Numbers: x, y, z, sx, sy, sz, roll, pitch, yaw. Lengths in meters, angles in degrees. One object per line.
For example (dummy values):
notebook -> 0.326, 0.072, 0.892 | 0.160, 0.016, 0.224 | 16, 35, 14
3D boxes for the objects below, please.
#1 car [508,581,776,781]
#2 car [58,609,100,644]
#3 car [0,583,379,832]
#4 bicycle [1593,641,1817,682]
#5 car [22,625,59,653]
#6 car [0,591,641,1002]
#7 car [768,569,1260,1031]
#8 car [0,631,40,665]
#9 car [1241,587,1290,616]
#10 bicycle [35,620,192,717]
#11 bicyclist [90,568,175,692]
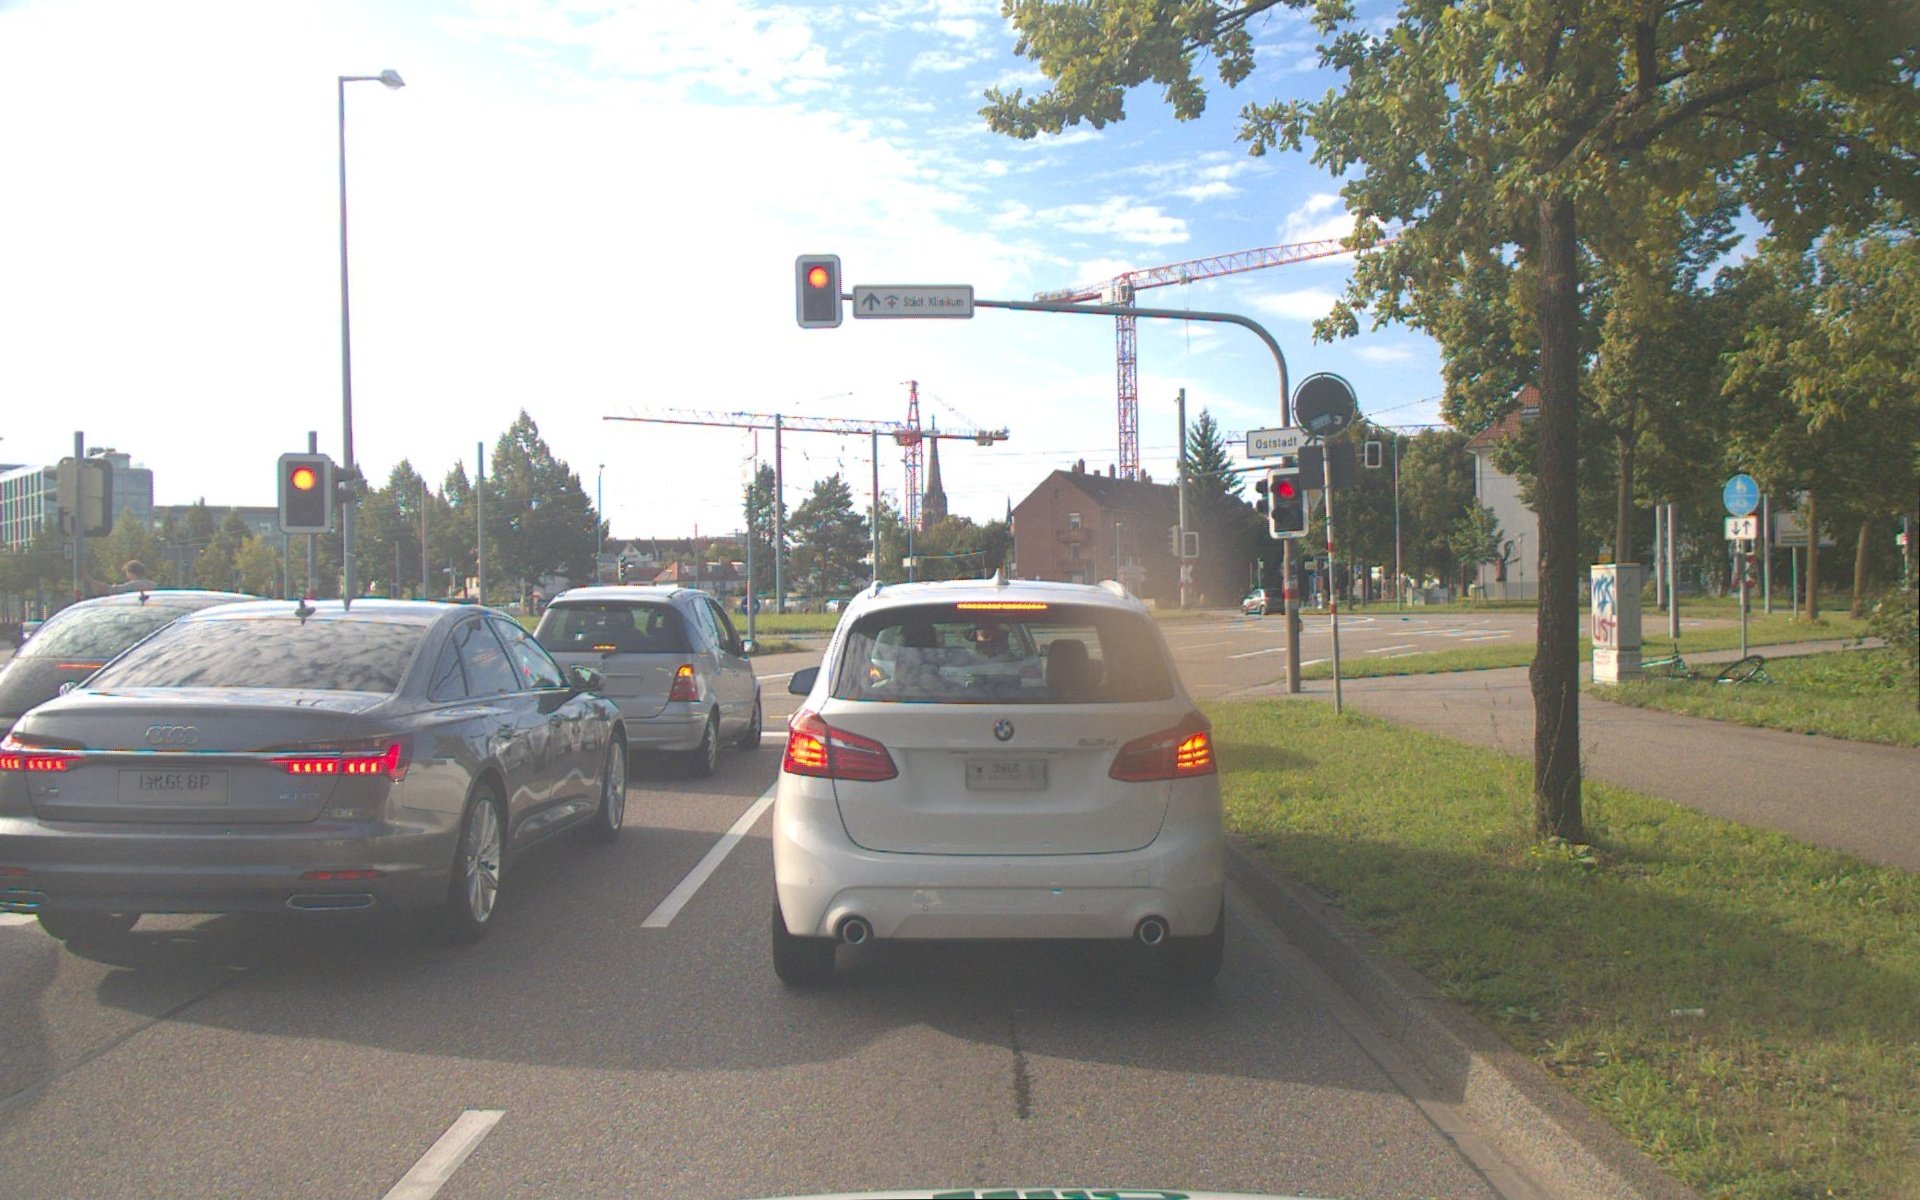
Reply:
car -> -2.753, 0.638, 15.165 | 1.694, 1.585, 4.057 | 0, 0, -1
car -> -41.612, 1.225, 78.182 | 1.686, 1.601, 3.963 | -1, 0, -28
car -> -5.762, 0.668, 12.232 | 1.646, 1.549, 3.809 | 0, 0, -1
bicycle -> 9.488, 0.775, 21.231 | 1.382, 0.392, 2.569 | -1, 0, -12
car -> -50.851, 2.131, 91.484 | 1.573, 1.440, 3.638 | -1, 0, -27
car -> -2.959, 0.733, 8.403 | 1.851, 1.509, 4.612 | 0, 0, -1
car -> 0.157, 0.680, 7.725 | 1.694, 1.585, 4.057 | 0, 0, -1
car -> -48.360, 2.427, 84.305 | 1.759, 1.602, 3.979 | -1, 0, -18
car -> 17.479, 0.087, 94.812 | 1.543, 1.601, 3.187 | -1, 0, -14
bicycle -> -10.979, 0.871, 21.498 | 1.698, 1.184, 0.653 | -1, 0, -17
bicyclist -> -10.777, 0.382, 21.564 | 0.835, 1.553, 0.737 | -1, 0, -17
